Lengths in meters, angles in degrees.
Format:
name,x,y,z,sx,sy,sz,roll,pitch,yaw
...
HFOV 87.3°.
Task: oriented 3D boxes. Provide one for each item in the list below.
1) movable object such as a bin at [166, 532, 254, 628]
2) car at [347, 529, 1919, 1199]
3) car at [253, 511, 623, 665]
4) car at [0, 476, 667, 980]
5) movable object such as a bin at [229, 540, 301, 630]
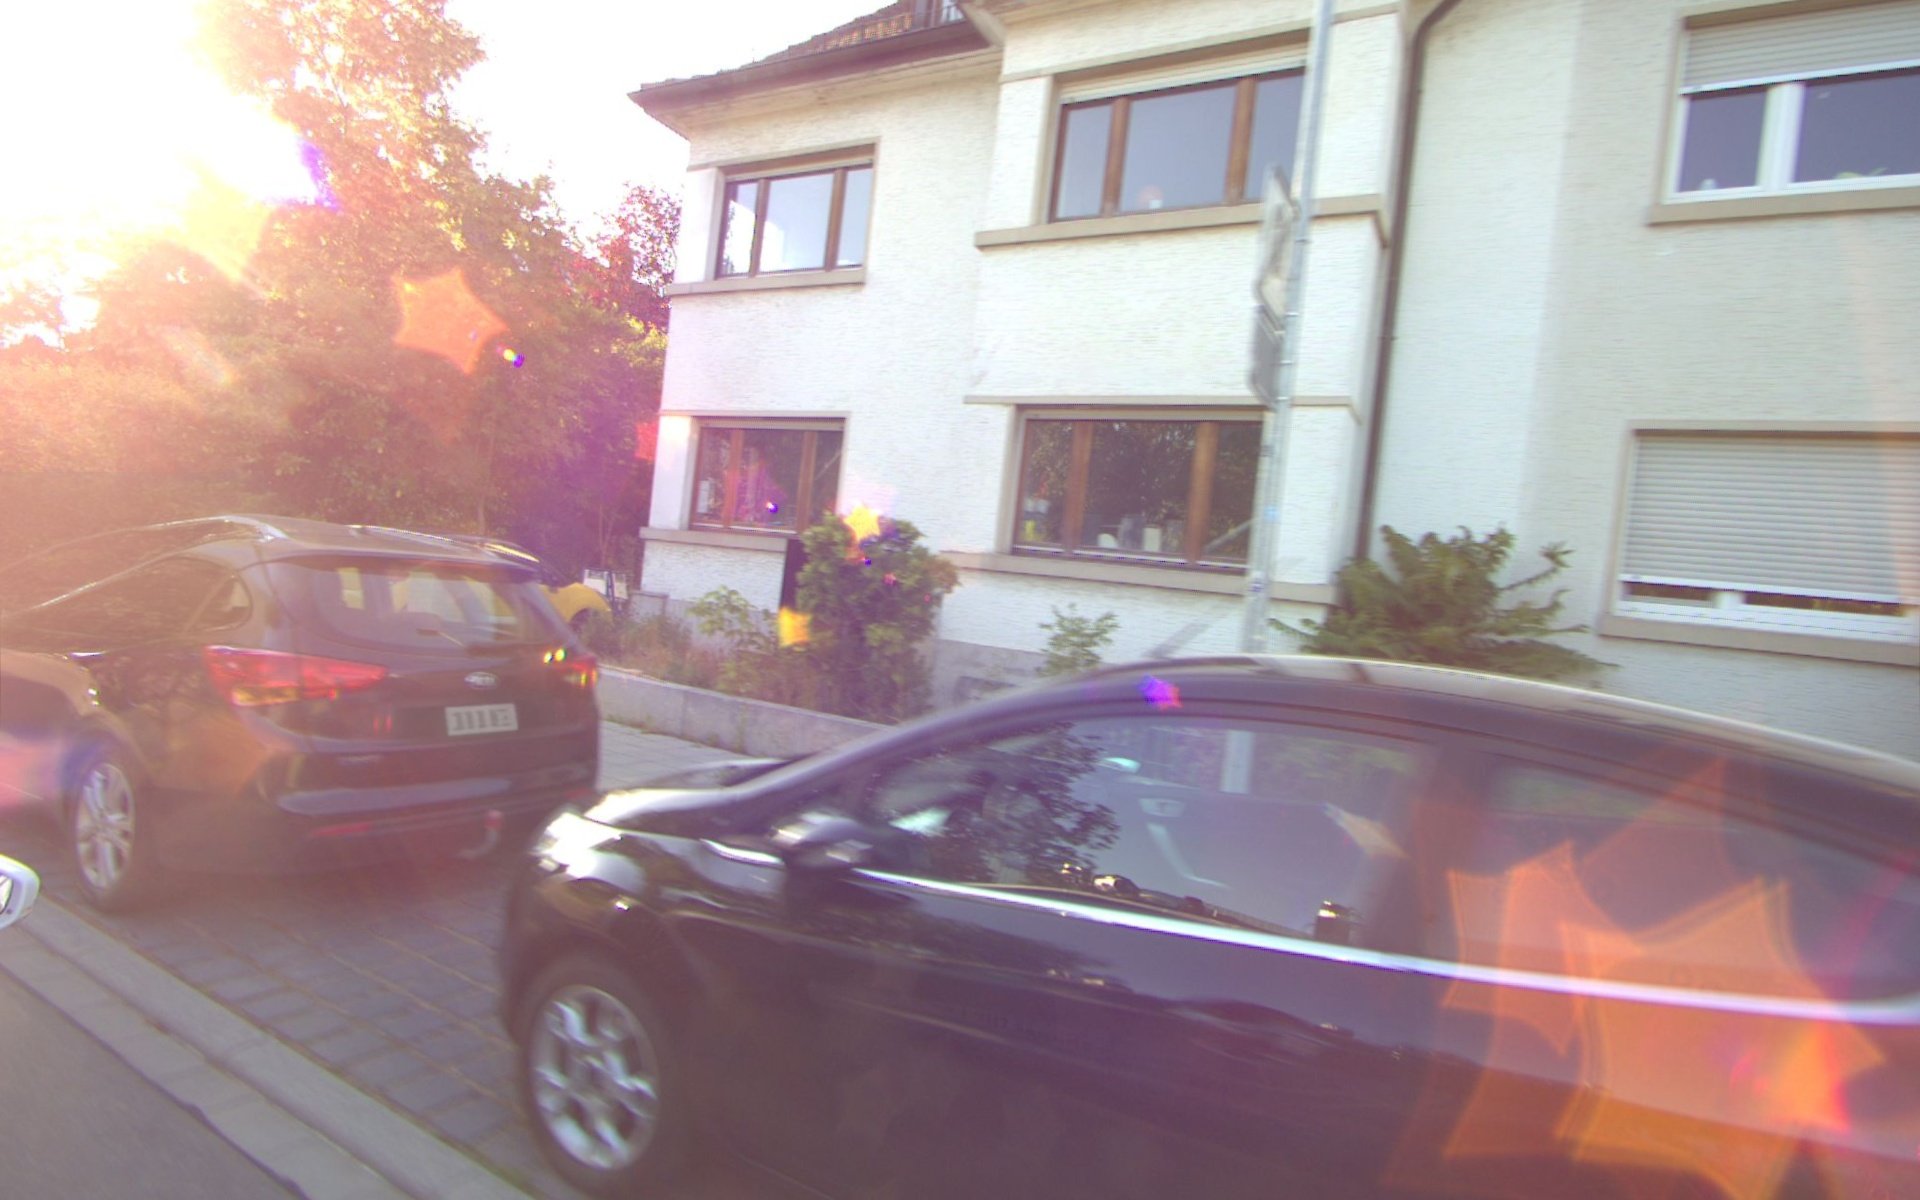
name,x,y,z,sx,sy,sz,roll,pitch,yaw
movable object such as a bin,-9.032,-0.233,12.123,0.647,1.056,0.509,7,0,24
car,0.521,0.779,2.491,3.915,1.491,1.720,7,2,29
car,-6.270,-0.085,12.490,1.751,1.515,3.638,7,1,29
car,-3.669,0.295,4.907,4.182,1.492,1.750,7,-1,29
movable object such as a bin,-8.674,-0.182,12.569,0.409,1.056,0.509,7,0,24
